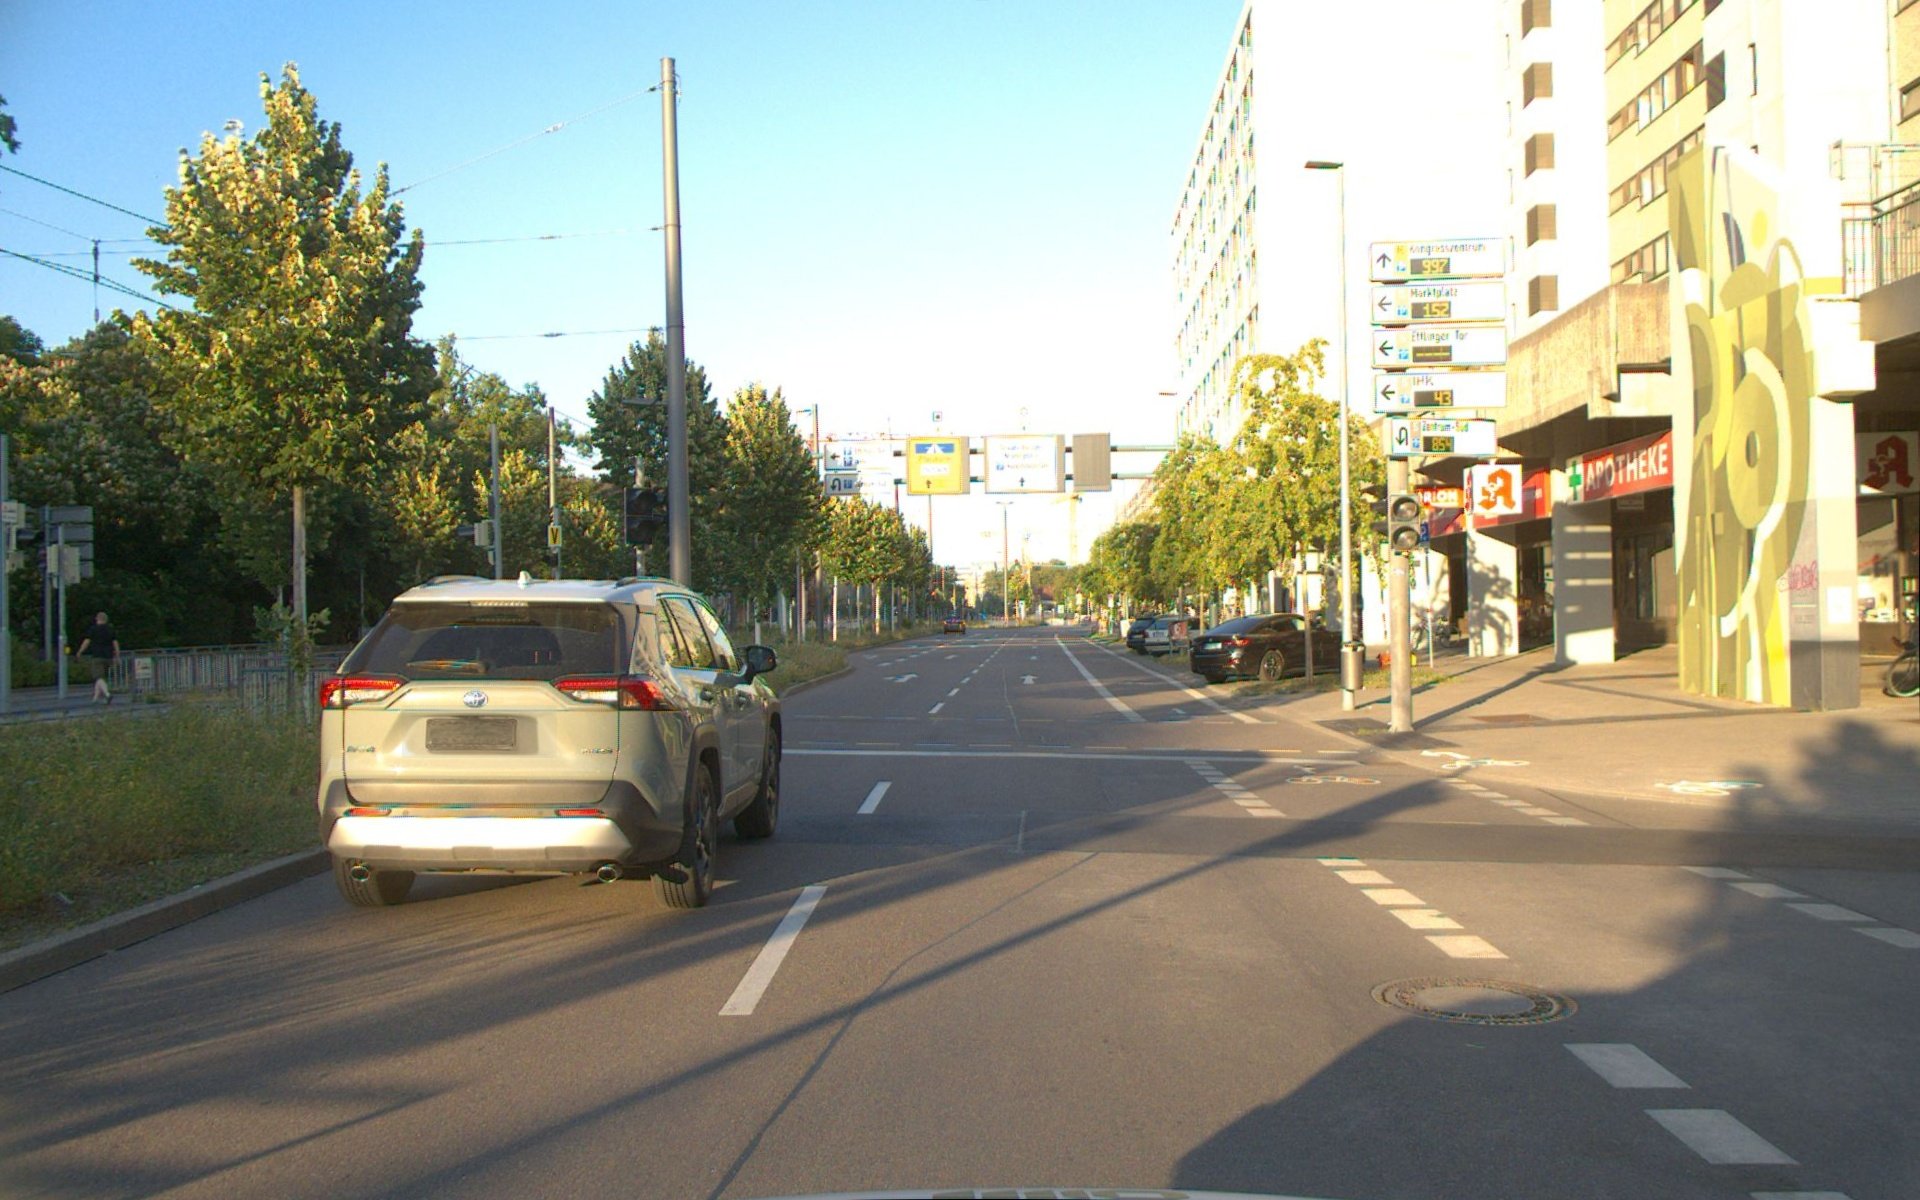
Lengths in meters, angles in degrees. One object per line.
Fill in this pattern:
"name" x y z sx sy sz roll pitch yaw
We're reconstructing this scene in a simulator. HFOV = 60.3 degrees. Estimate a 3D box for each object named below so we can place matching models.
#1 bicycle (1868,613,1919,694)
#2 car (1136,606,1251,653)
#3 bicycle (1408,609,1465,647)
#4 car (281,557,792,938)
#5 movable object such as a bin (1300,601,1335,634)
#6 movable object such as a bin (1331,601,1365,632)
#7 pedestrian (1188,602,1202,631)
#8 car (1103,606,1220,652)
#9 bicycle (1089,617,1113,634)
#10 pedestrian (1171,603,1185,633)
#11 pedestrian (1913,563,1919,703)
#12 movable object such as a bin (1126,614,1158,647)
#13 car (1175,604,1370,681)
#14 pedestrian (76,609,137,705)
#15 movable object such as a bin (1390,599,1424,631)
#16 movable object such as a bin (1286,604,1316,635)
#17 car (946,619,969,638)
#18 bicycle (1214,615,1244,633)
"bicycle" 13.086 0.720 22.417 0.451 1.066 1.325 -2 1 -27
"car" 8.416 1.067 59.460 3.947 1.441 1.729 -3 -1 -36
"bicycle" 14.359 0.839 49.871 1.540 1.067 0.433 -3 -1 1
"car" -2.115 0.669 9.548 1.796 1.702 4.282 0 0 1
"movable object such as a bin" 15.428 0.739 71.459 1.157 1.346 1.267 -4 0 1
"movable object such as a bin" 16.777 0.705 71.522 1.157 1.321 1.305 -2 0 1
"pedestrian" 15.613 1.103 109.788 0.740 1.856 0.941 -3 -1 11
"car" 8.136 1.143 66.479 4.621 1.534 1.914 -3 -1 -38
"bicycle" 10.814 1.981 127.100 1.757 1.214 0.567 -3 -1 -2
"pedestrian" 14.487 1.189 109.738 0.728 1.881 0.941 -4 -1 11
"pedestrian" 12.672 0.400 20.955 0.712 1.781 0.694 -4 1 -21
"movable object such as a bin" 7.816 1.315 71.043 1.063 1.324 1.360 -3 -1 -4
"car" 7.124 0.938 37.464 4.562 1.478 1.788 -3 0 -39
"pedestrian" -15.320 1.015 29.700 0.656 1.635 0.677 2 4 24
"movable object such as a bin" 19.336 0.630 71.567 1.157 1.336 1.088 -2 0 1
"movable object such as a bin" 15.643 0.871 75.942 1.082 1.353 1.283 -3 -1 1
"car" -0.184 2.160 127.271 1.639 1.376 4.001 0 0 2
"bicycle" 16.242 1.444 100.007 1.665 1.003 0.551 -3 0 -1
